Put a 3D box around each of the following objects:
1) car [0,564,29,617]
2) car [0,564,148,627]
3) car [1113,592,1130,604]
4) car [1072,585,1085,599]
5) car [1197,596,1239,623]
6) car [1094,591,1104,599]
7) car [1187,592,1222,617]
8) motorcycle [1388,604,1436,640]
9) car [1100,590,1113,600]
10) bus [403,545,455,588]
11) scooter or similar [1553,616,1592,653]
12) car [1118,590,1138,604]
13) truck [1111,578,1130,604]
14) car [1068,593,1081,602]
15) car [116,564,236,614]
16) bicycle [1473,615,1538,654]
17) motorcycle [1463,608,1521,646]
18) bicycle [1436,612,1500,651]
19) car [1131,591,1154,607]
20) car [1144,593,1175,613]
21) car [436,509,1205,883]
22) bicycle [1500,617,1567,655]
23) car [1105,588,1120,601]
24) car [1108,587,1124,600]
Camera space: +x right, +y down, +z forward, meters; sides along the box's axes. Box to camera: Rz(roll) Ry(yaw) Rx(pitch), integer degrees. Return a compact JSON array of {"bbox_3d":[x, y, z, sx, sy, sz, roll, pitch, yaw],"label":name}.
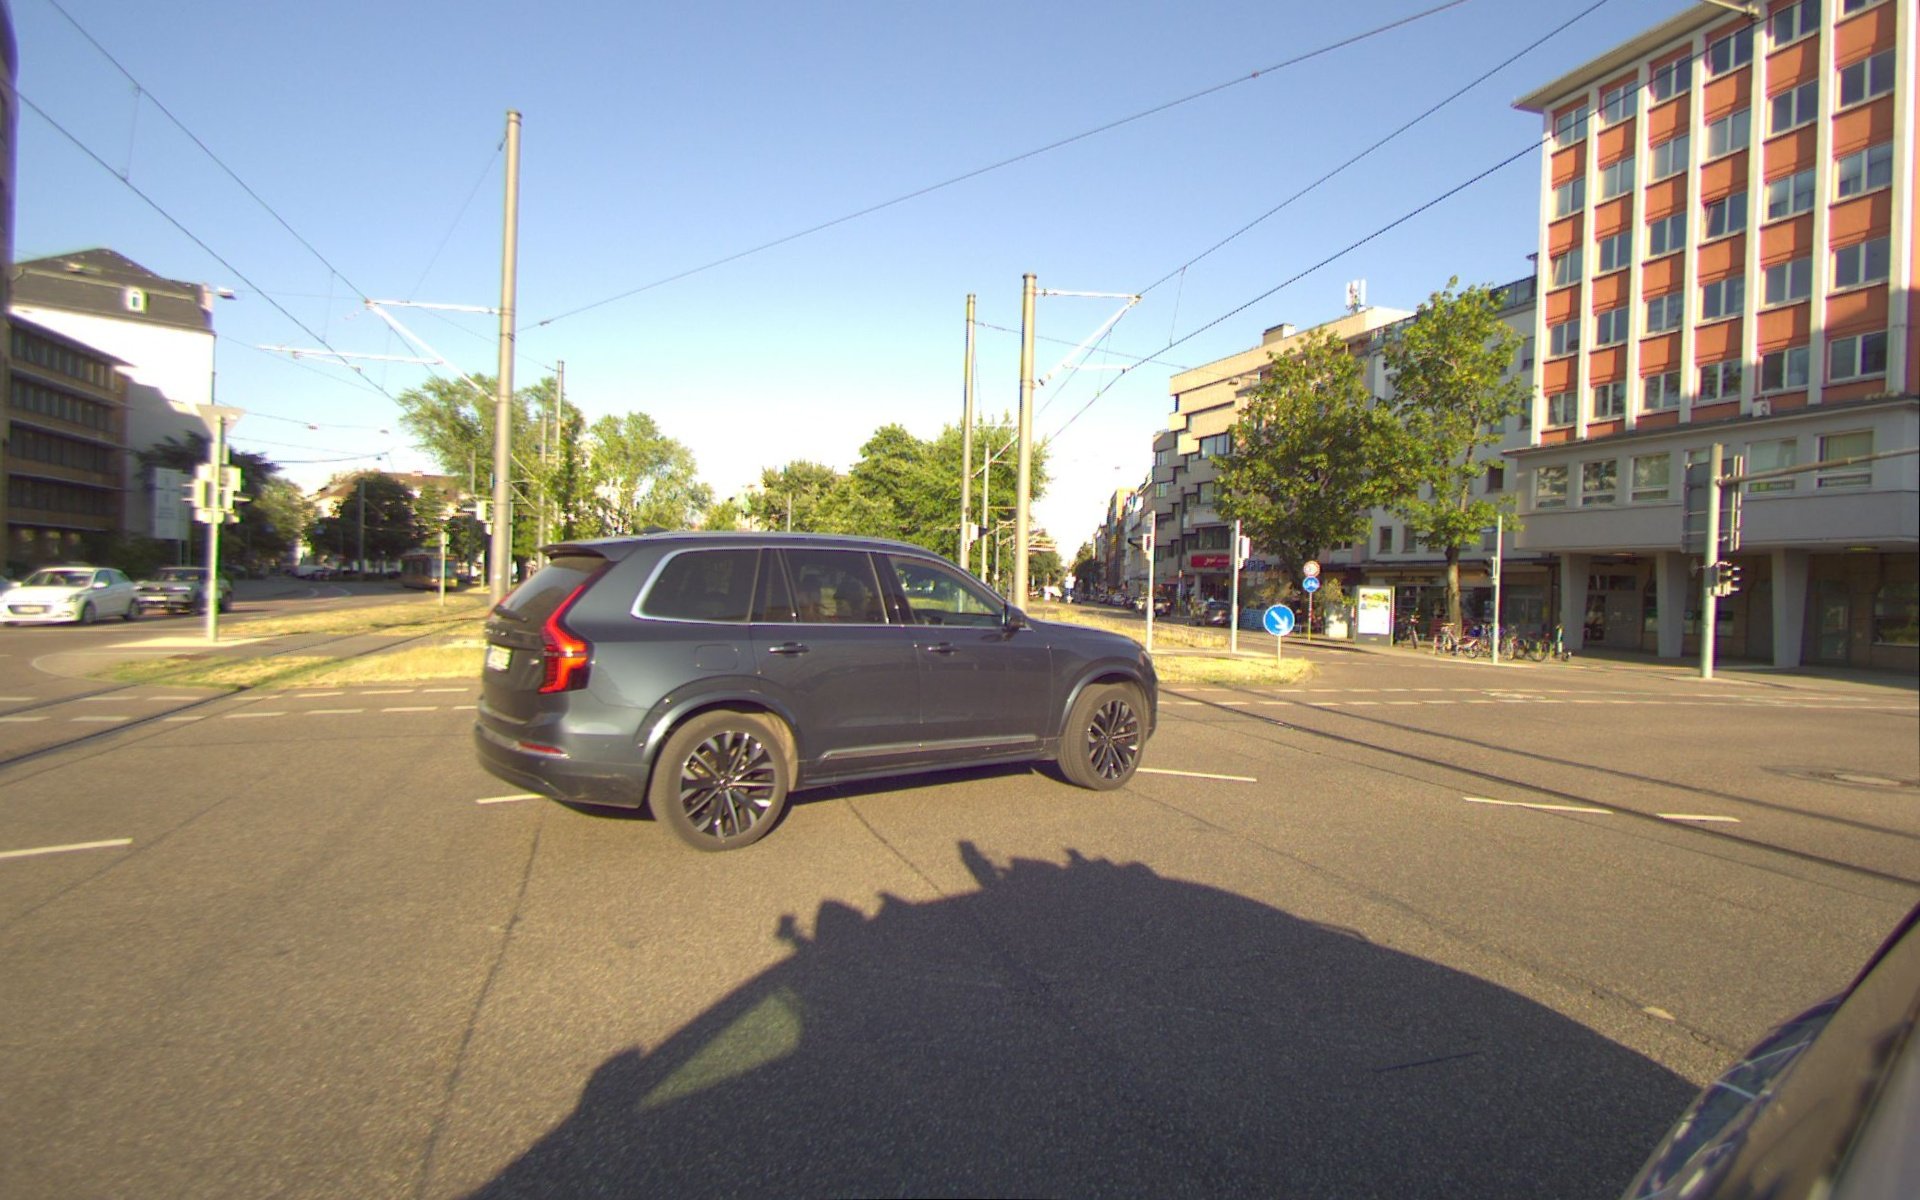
[{"bbox_3d":[-29.152,-0.272,28.927,1.944,1.556,4.507,1,1,-16],"label":"car"},{"bbox_3d":[-23.163,-0.150,26.260,1.953,1.510,4.186,1,1,-19],"label":"car"},{"bbox_3d":[19.274,-0.242,120.947,1.709,1.401,3.621,1,1,3],"label":"car"},{"bbox_3d":[15.948,-1.056,136.318,1.620,1.836,3.486,1,1,3],"label":"car"},{"bbox_3d":[14.702,0.521,57.816,1.611,1.445,3.633,1,1,3],"label":"car"},{"bbox_3d":[24.096,-0.831,175.350,1.469,1.391,3.421,1,1,3],"label":"car"},{"bbox_3d":[16.401,0.309,68.000,1.611,1.566,3.633,1,1,3],"label":"car"},{"bbox_3d":[17.704,0.851,39.666,0.873,1.324,2.058,1,1,-2],"label":"motorcycle"},{"bbox_3d":[24.035,-0.794,166.319,1.774,1.615,3.674,1,1,3],"label":"car"},{"bbox_3d":[-43.103,-2.710,82.022,2.365,3.250,11.120,1,1,-35],"label":"bus"},{"bbox_3d":[22.528,1.251,37.221,0.475,1.250,1.561,2,2,2],"label":"scooter or similar"},{"bbox_3d":[17.852,-0.315,107.667,1.709,1.401,3.621,1,1,3],"label":"car"},{"bbox_3d":[20.373,-1.155,128.826,1.709,3.260,6.402,1,1,3],"label":"truck"},{"bbox_3d":[17.645,-0.420,155.898,1.647,1.340,3.774,1,1,3],"label":"car"},{"bbox_3d":[-25.318,-0.374,32.853,1.782,1.510,4.074,1,1,-18],"label":"car"},{"bbox_3d":[18.404,1.155,34.179,0.581,1.128,2.012,2,2,-19],"label":"bicycle"},{"bbox_3d":[20.040,1.012,38.100,2.220,1.410,0.845,1,-1,-29],"label":"motorcycle"},{"bbox_3d":[16.869,1.024,33.672,0.581,1.129,1.983,2,2,-20],"label":"bicycle"},{"bbox_3d":[16.987,-0.115,94.233,1.709,1.401,3.388,1,1,3],"label":"car"},{"bbox_3d":[16.342,0.226,83.014,1.929,1.575,3.870,1,1,3],"label":"car"},{"bbox_3d":[-0.717,0.402,7.004,4.937,1.745,2.000,-1,2,-37],"label":"car"},{"bbox_3d":[19.575,1.212,34.581,0.581,1.128,2.067,2,2,-20],"label":"bicycle"},{"bbox_3d":[21.480,-0.818,142.401,1.739,1.723,3.577,1,1,3],"label":"car"},{"bbox_3d":[20.946,-0.850,135.597,1.739,1.723,3.577,1,1,3],"label":"car"}]
